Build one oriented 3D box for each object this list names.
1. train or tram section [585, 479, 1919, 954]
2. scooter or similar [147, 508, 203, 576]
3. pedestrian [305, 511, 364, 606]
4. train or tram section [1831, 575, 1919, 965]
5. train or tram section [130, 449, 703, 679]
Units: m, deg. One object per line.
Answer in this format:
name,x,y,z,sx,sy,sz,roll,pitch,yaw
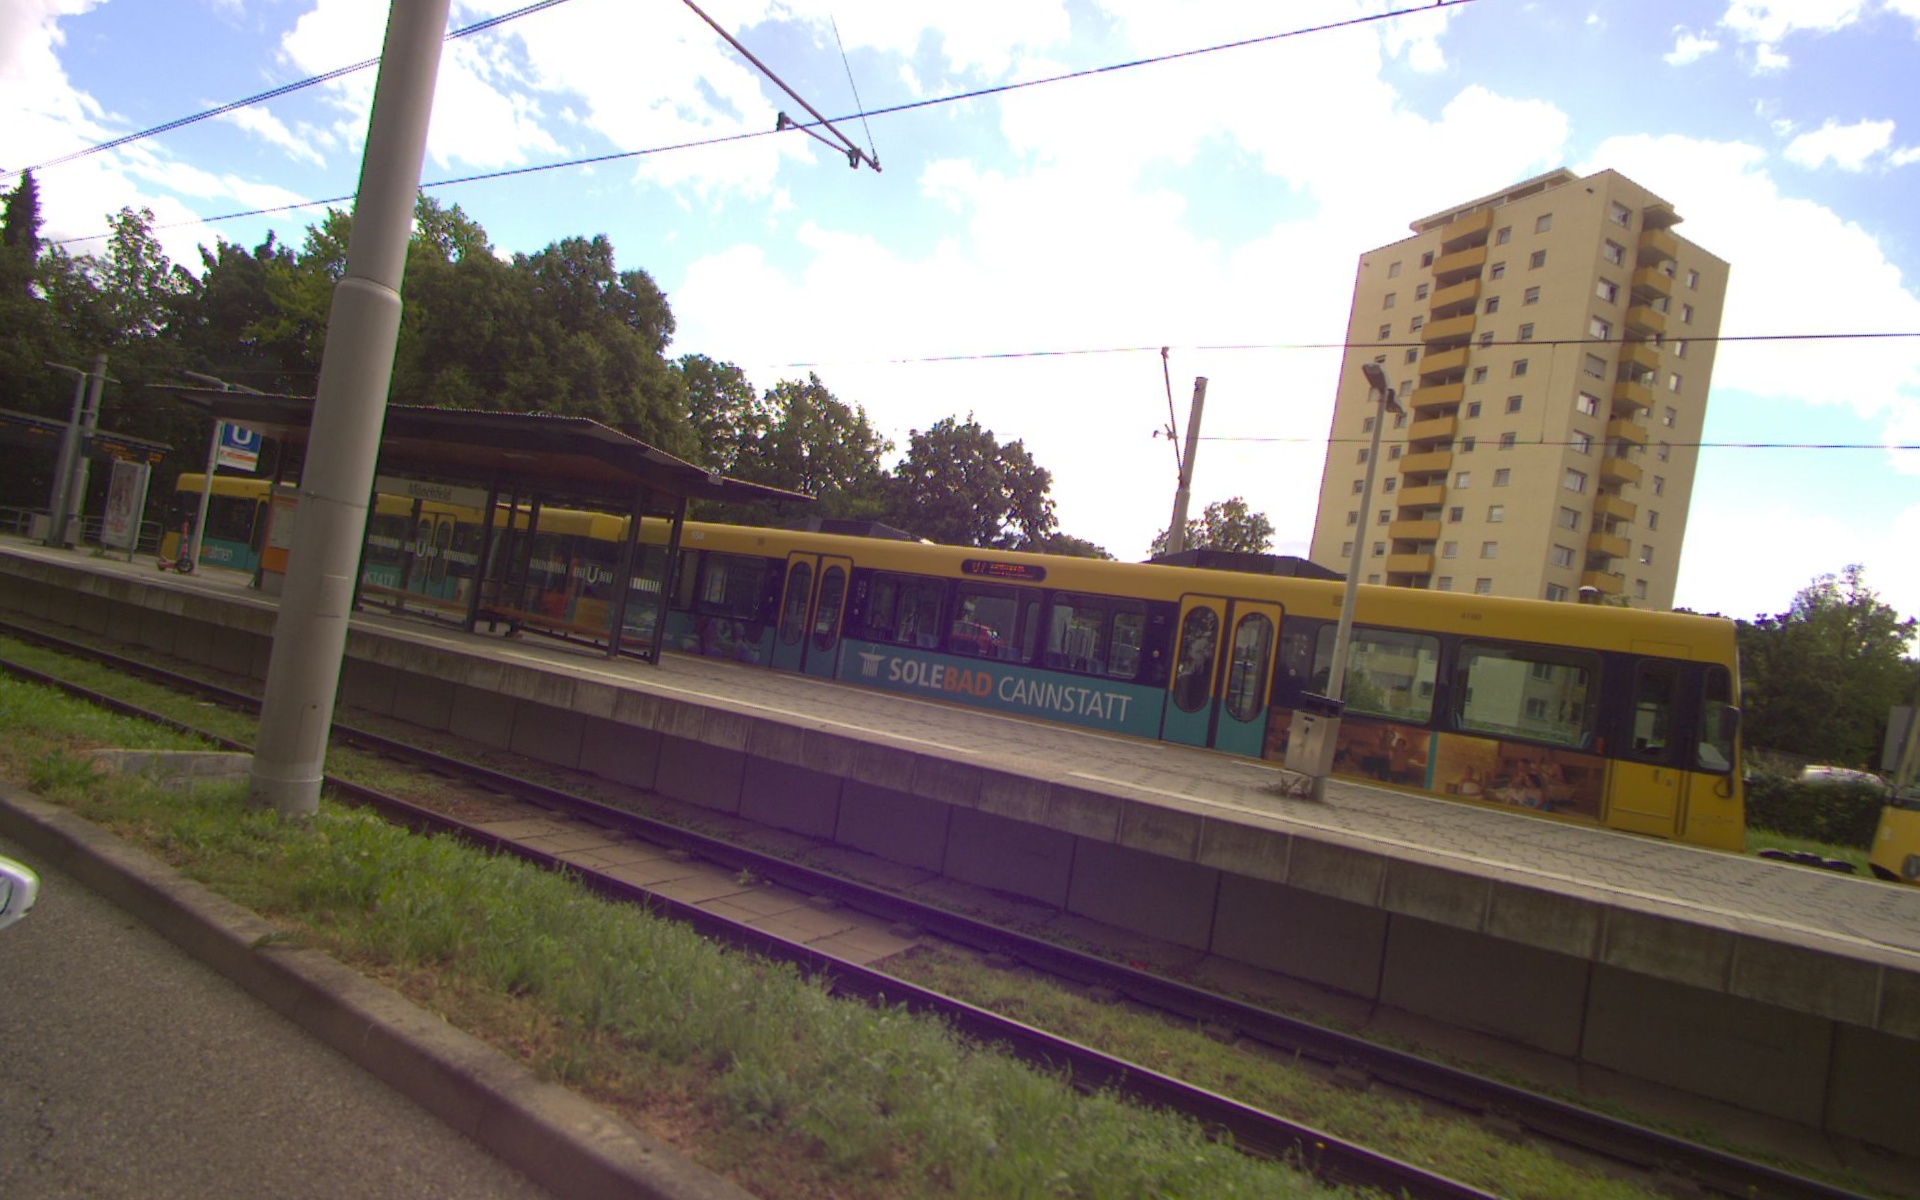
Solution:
train or tram section,1.783,0.729,16.055,19.185,3.777,2.822,7,-3,31
scooter or similar,-16.110,-1.203,20.633,1.126,1.256,0.369,8,-1,30
pedestrian,-11.279,-0.750,18.139,0.621,1.591,0.657,9,-2,-43
train or tram section,17.698,2.745,5.804,18.633,3.839,2.819,7,-3,35
train or tram section,-14.869,-1.335,25.694,19.180,3.627,2.823,7,-3,30
